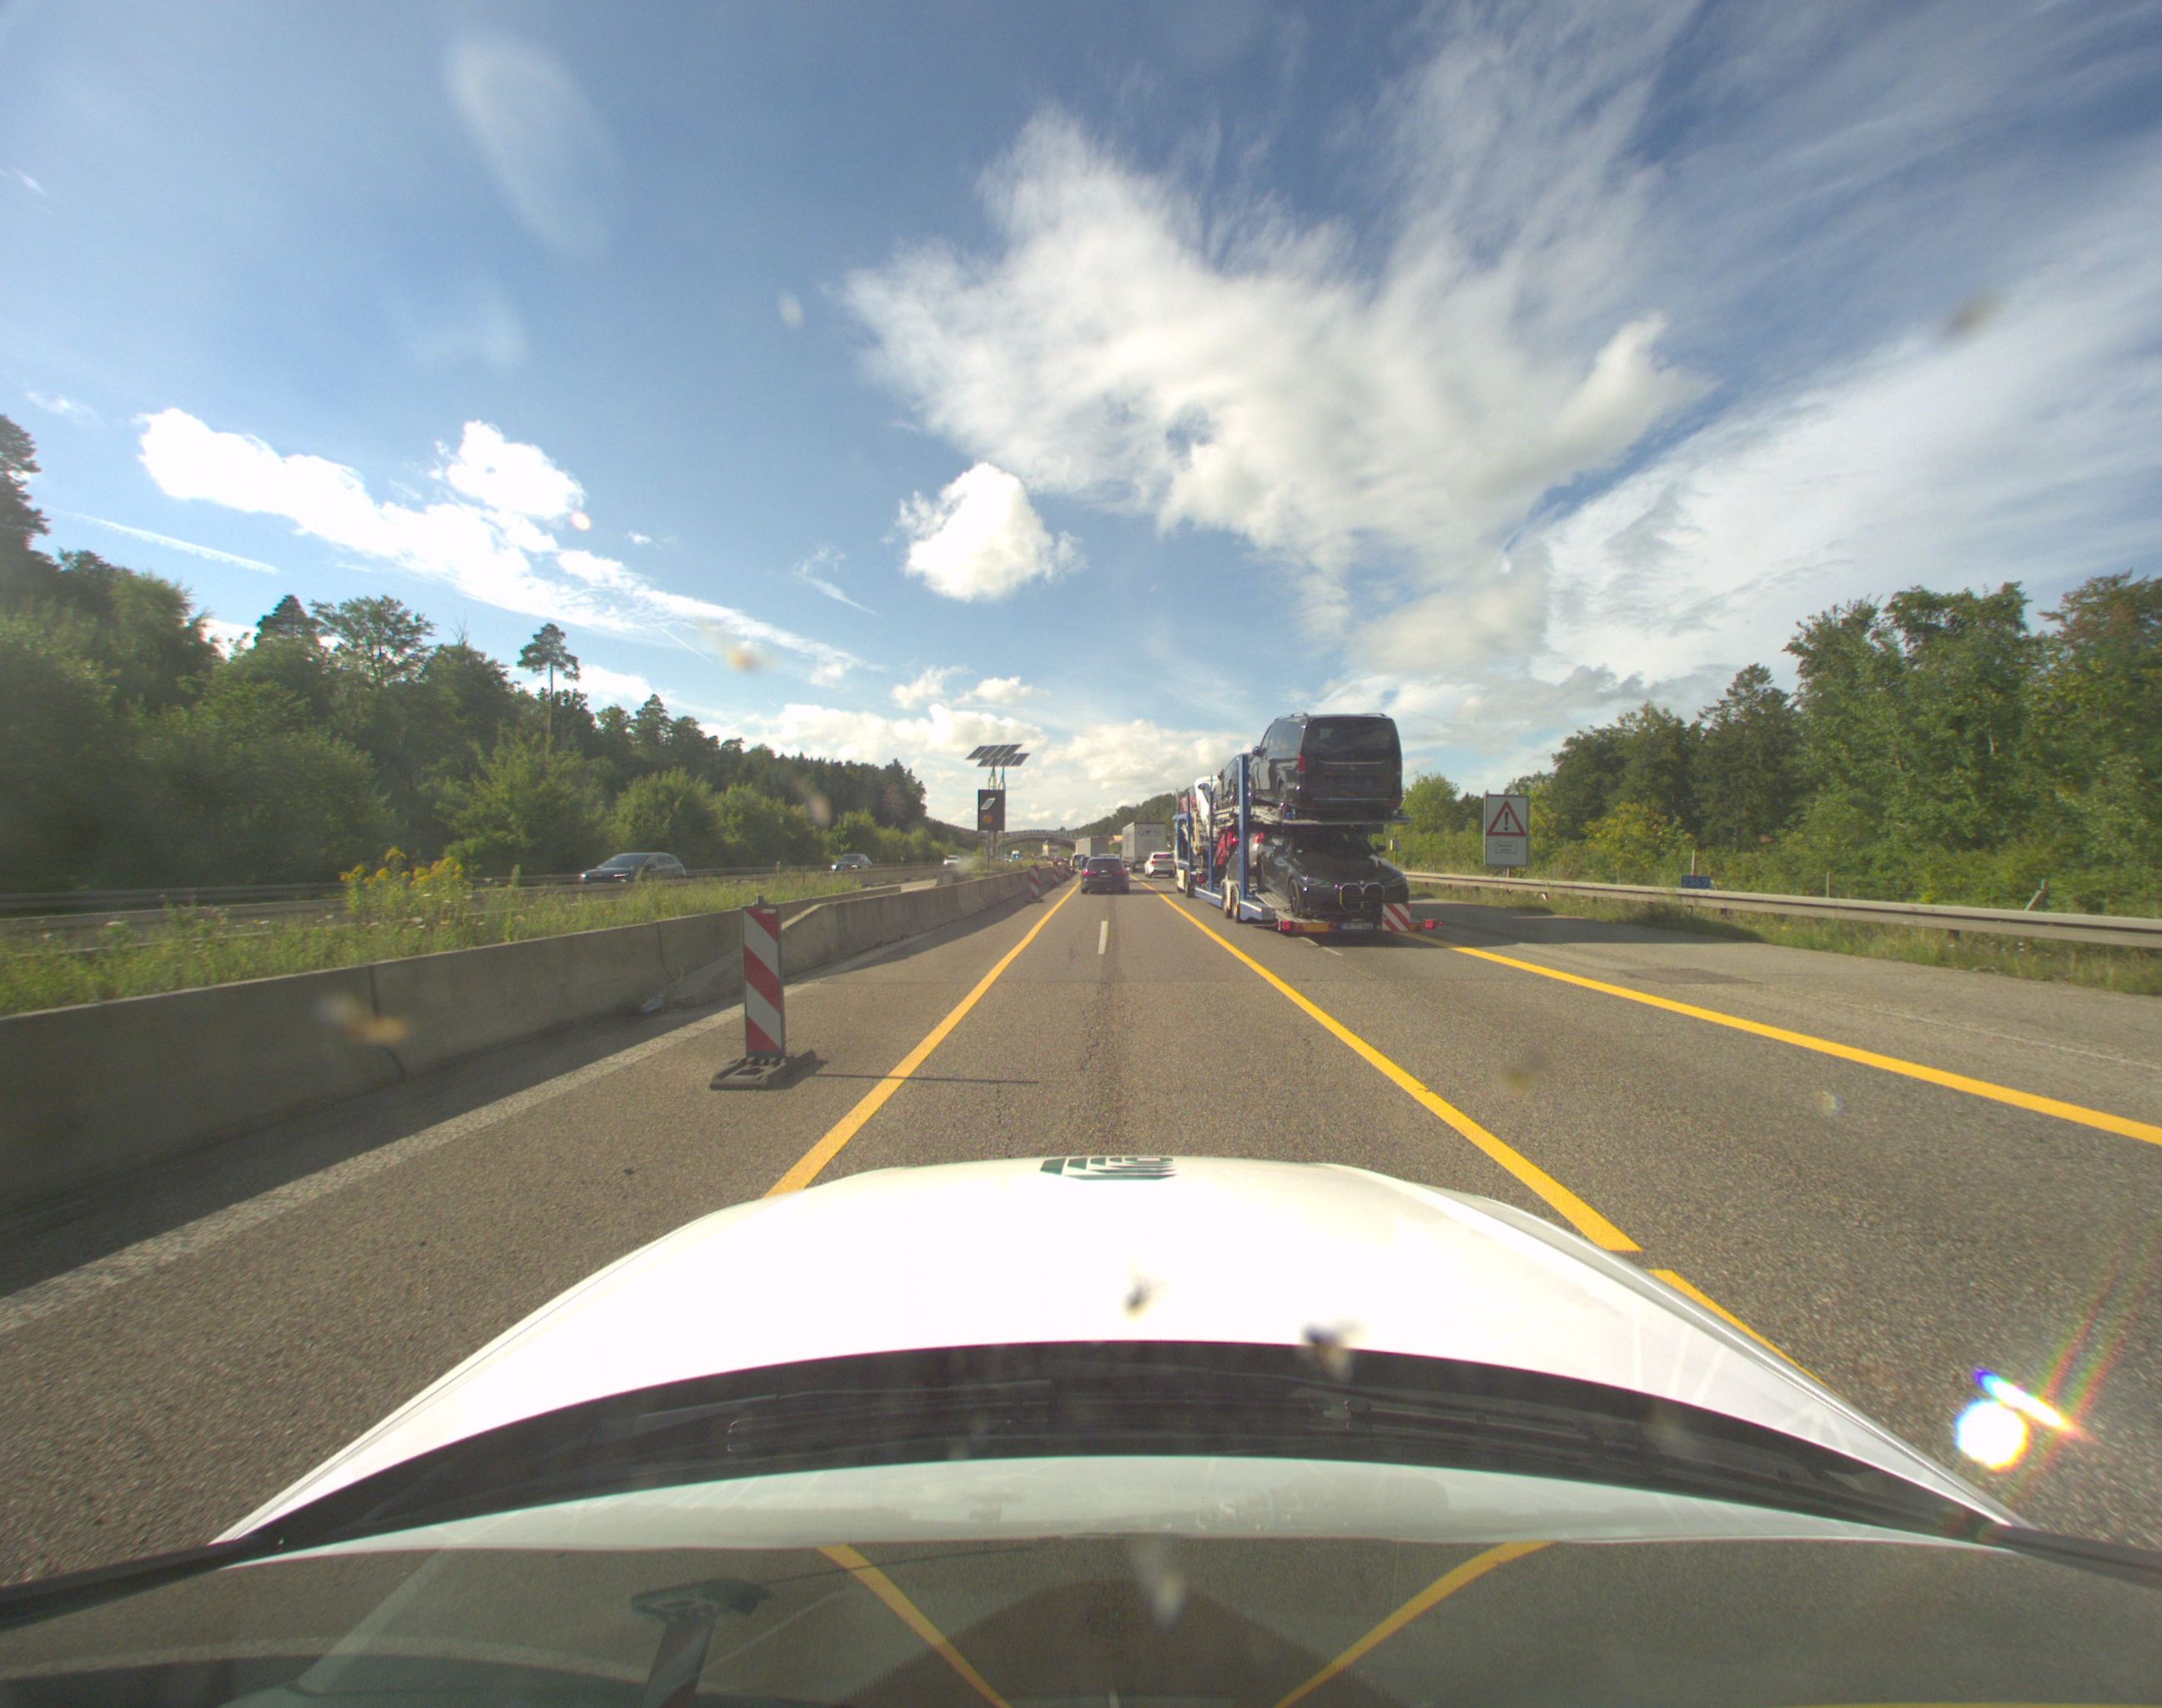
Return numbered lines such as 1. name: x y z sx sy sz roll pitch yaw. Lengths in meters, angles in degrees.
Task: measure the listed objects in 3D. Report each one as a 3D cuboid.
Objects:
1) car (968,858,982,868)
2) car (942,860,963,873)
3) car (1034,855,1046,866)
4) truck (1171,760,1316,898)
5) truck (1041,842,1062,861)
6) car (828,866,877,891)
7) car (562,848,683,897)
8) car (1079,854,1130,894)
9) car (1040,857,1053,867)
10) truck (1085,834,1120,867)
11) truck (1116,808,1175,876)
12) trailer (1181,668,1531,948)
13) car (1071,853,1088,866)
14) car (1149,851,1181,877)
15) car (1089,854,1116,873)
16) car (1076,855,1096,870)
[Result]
1. car: -16.563 1.367 127.301 1.773 1.602 4.673 0 0 -1
2. car: -16.131 1.566 102.614 1.770 1.602 4.021 0 0 3
3. car: -7.989 1.270 157.871 1.992 2.014 3.990 0 0 -7
4. truck: 5.386 -0.742 28.765 3.747 4.196 7.953 0 0 2
5. truck: -6.358 -0.473 172.908 3.650 3.928 11.041 0 0 -7
6. car: -15.731 1.633 56.262 1.951 1.588 4.484 0 0 2
7. car: -16.008 0.608 28.693 1.770 1.602 4.021 0 0 3
8. car: 0.984 0.753 32.215 1.882 1.446 4.004 0 0 3
9. car: -6.046 1.411 142.813 1.778 1.602 4.003 0 0 -11
10. truck: 2.986 -0.449 117.867 4.310 4.600 11.111 0 0 -3
11. truck: 5.413 -0.923 72.096 3.667 5.353 16.193 0 0 -1
12. trailer: 5.108 -0.660 20.349 3.712 4.196 16.233 0 0 2
13. car: -0.177 0.687 103.365 1.886 1.643 4.013 0 0 -3
14. car: 5.391 0.632 52.653 1.882 1.643 4.021 0 0 3
15. car: 1.714 0.770 65.748 1.886 1.446 3.996 0 0 -3
16. car: 0.553 0.952 89.705 1.886 1.643 4.012 0 0 -4
